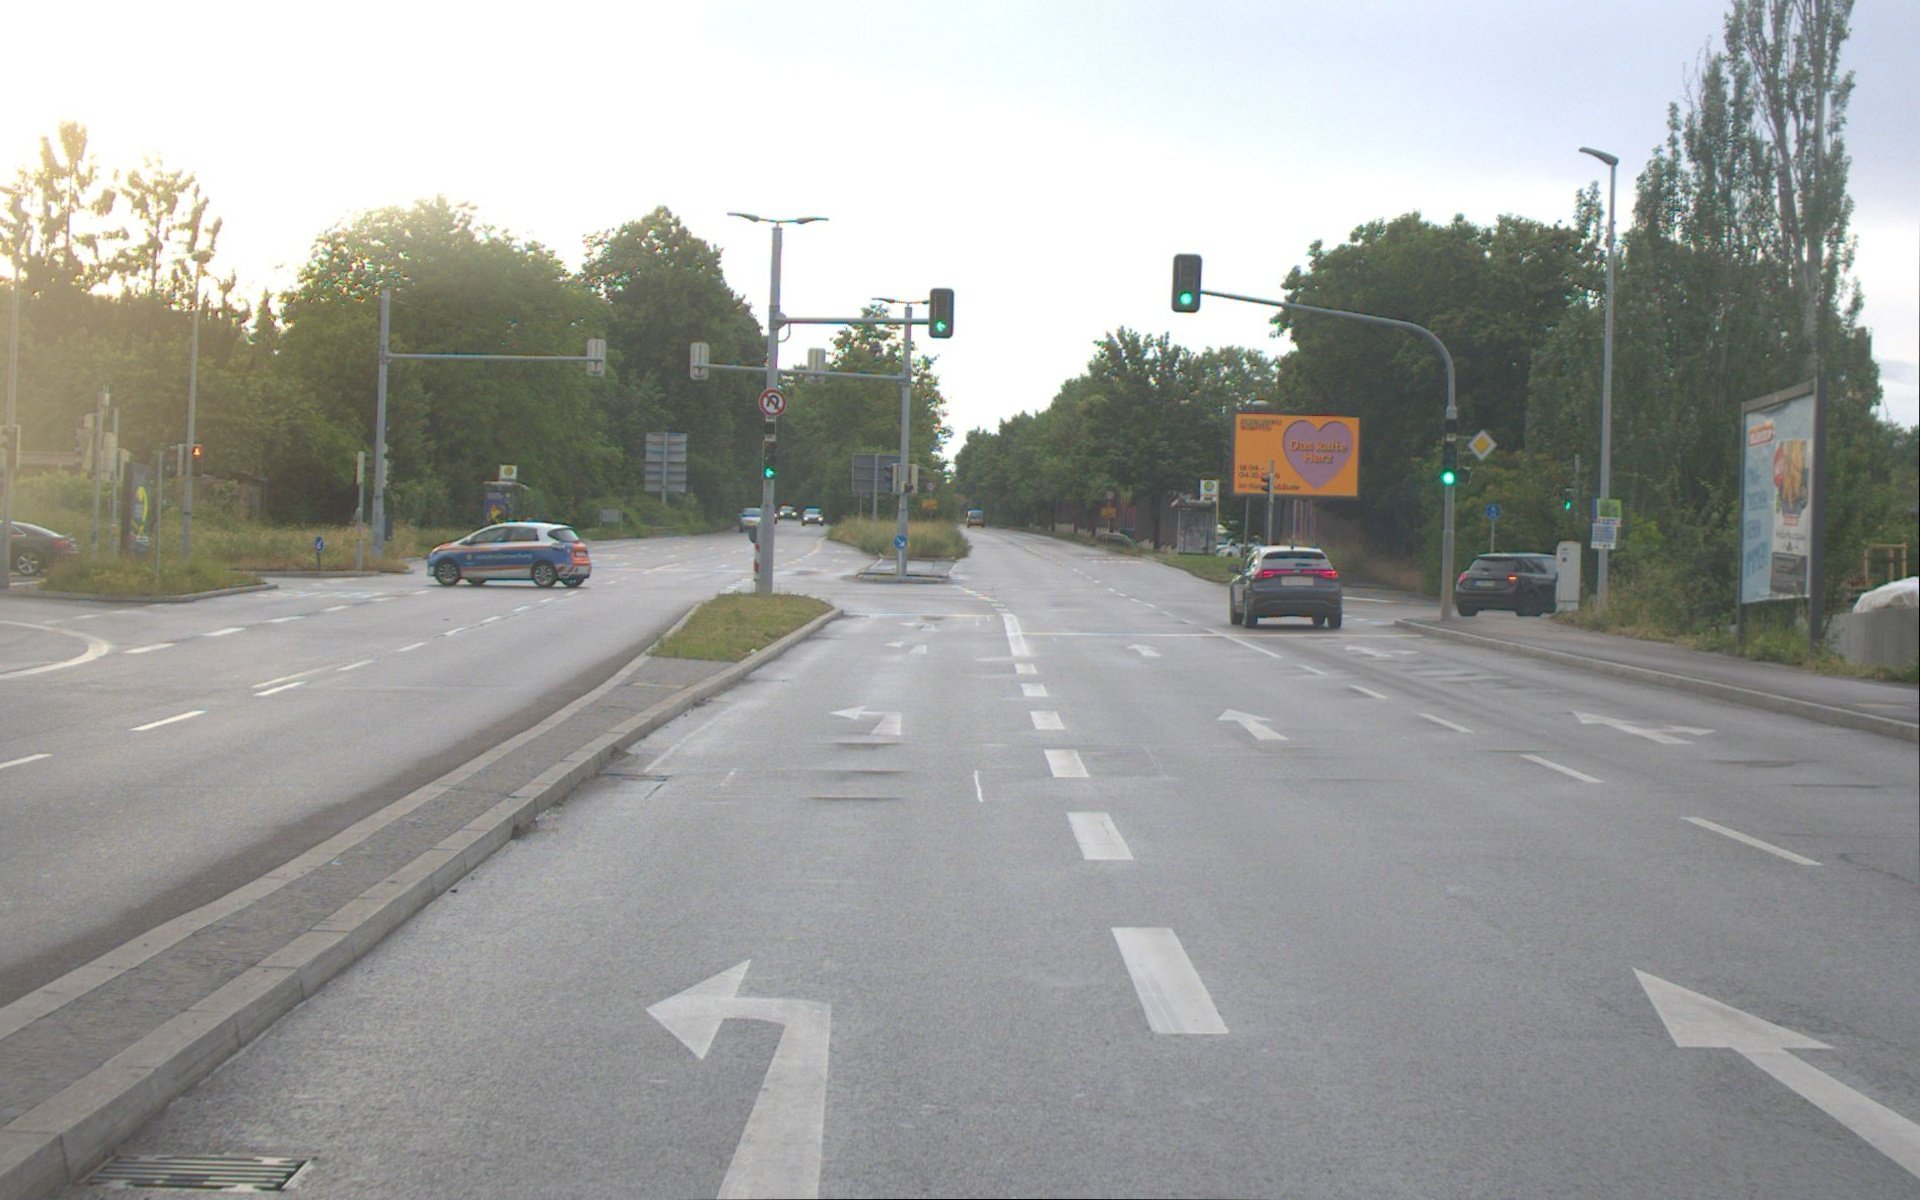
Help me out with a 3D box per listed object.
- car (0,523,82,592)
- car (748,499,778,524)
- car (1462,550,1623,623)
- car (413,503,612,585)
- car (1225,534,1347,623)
[{"bbox_3d":[-24.274,-1.126,84.856,4.648,1.577,2.173,3,0,-5],"label":"car"},{"bbox_3d":[-13.226,-5.980,231.230,1.768,1.590,4.489,2,1,-1],"label":"car"},{"bbox_3d":[12.650,-0.294,74.454,1.748,1.465,4.157,3,2,35],"label":"car"},{"bbox_3d":[-10.806,-1.351,83.071,4.189,1.712,2.081,3,0,20],"label":"car"},{"bbox_3d":[5.890,-0.417,62.519,1.745,1.465,4.166,2,1,-1],"label":"car"}]
